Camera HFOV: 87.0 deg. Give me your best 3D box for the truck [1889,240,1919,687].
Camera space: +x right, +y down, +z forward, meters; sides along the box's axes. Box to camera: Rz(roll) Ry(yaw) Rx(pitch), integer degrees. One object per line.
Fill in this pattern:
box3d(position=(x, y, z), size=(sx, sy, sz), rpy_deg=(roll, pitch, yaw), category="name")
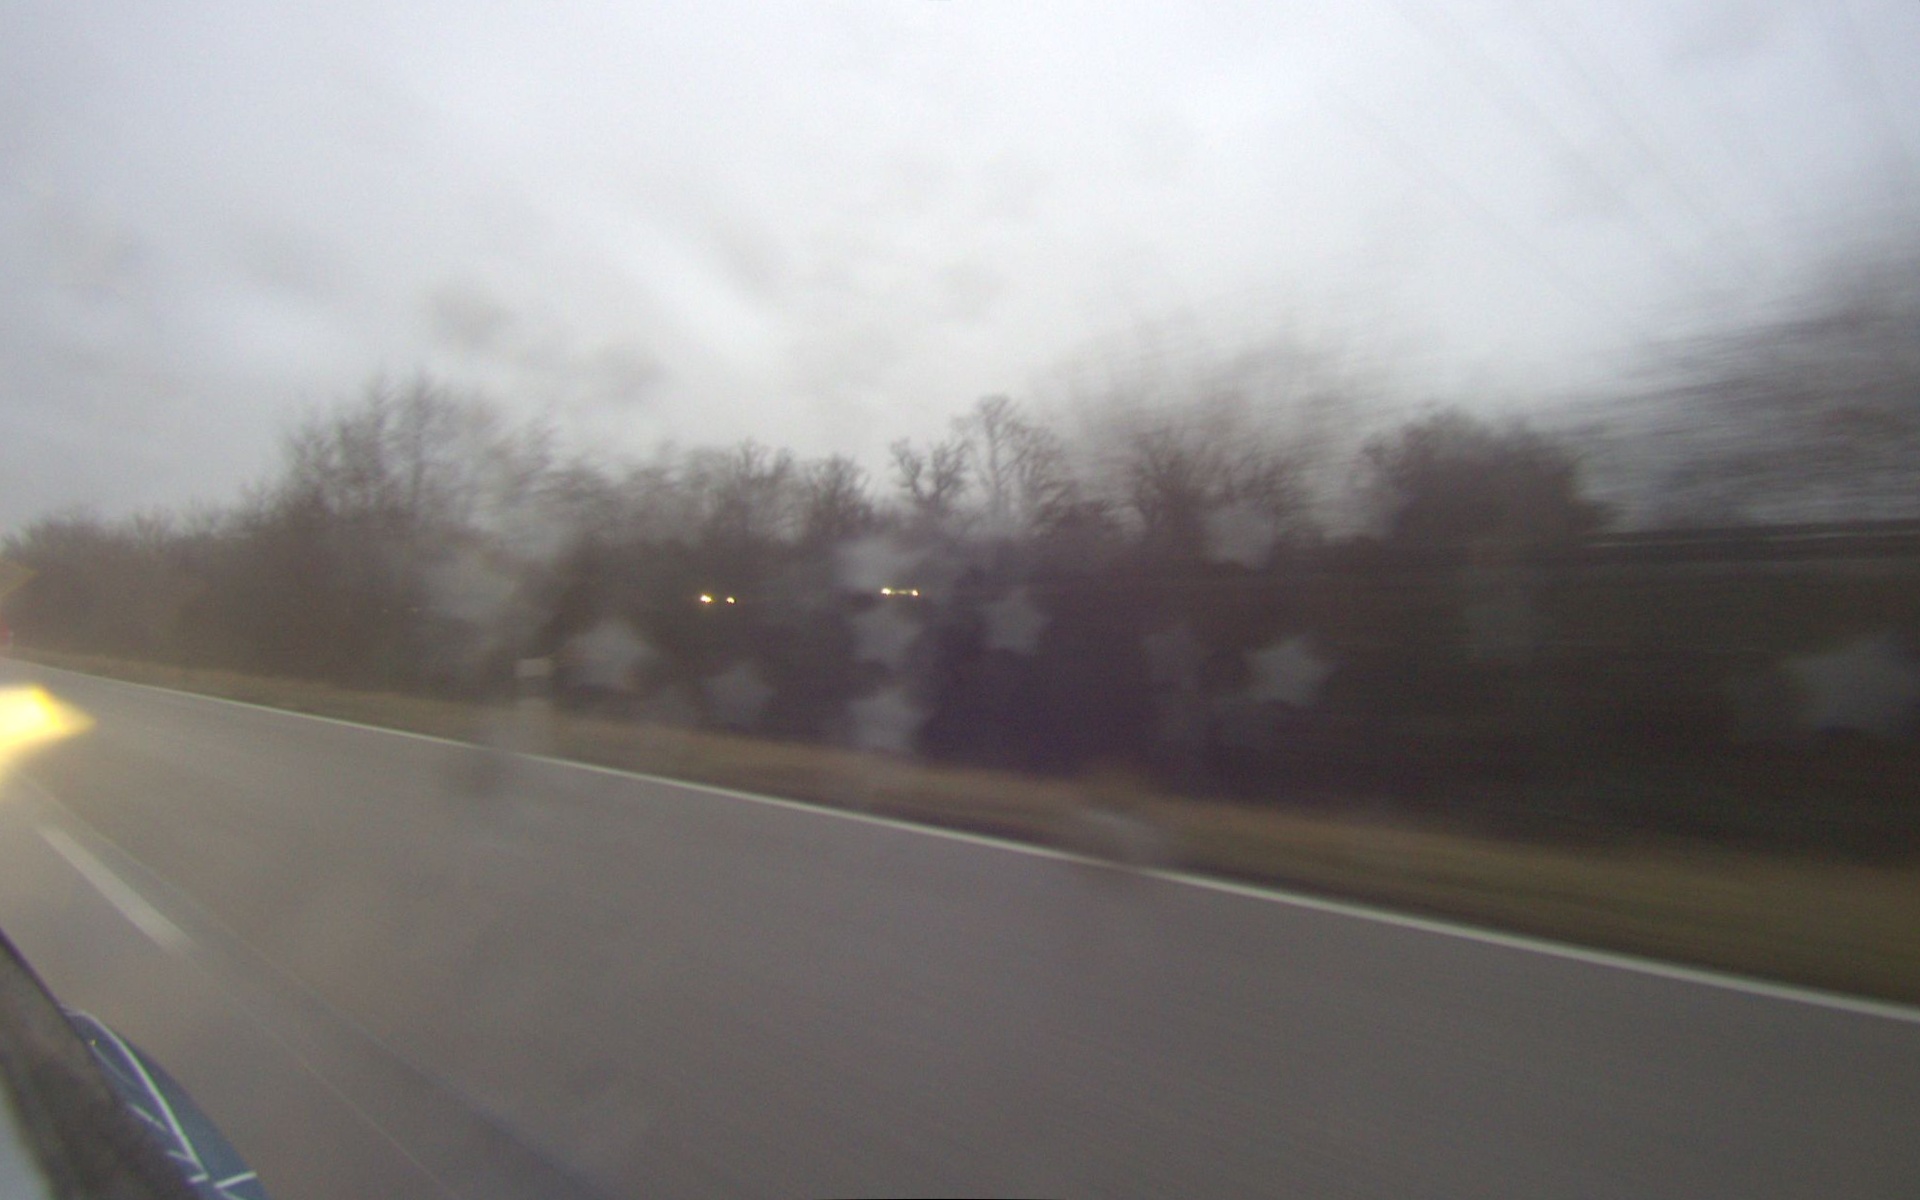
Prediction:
box3d(position=(34.100, -2.604, 7.201), size=(40.130, 7.771, 7.465), rpy_deg=(-1, 0, 41), category="truck")
